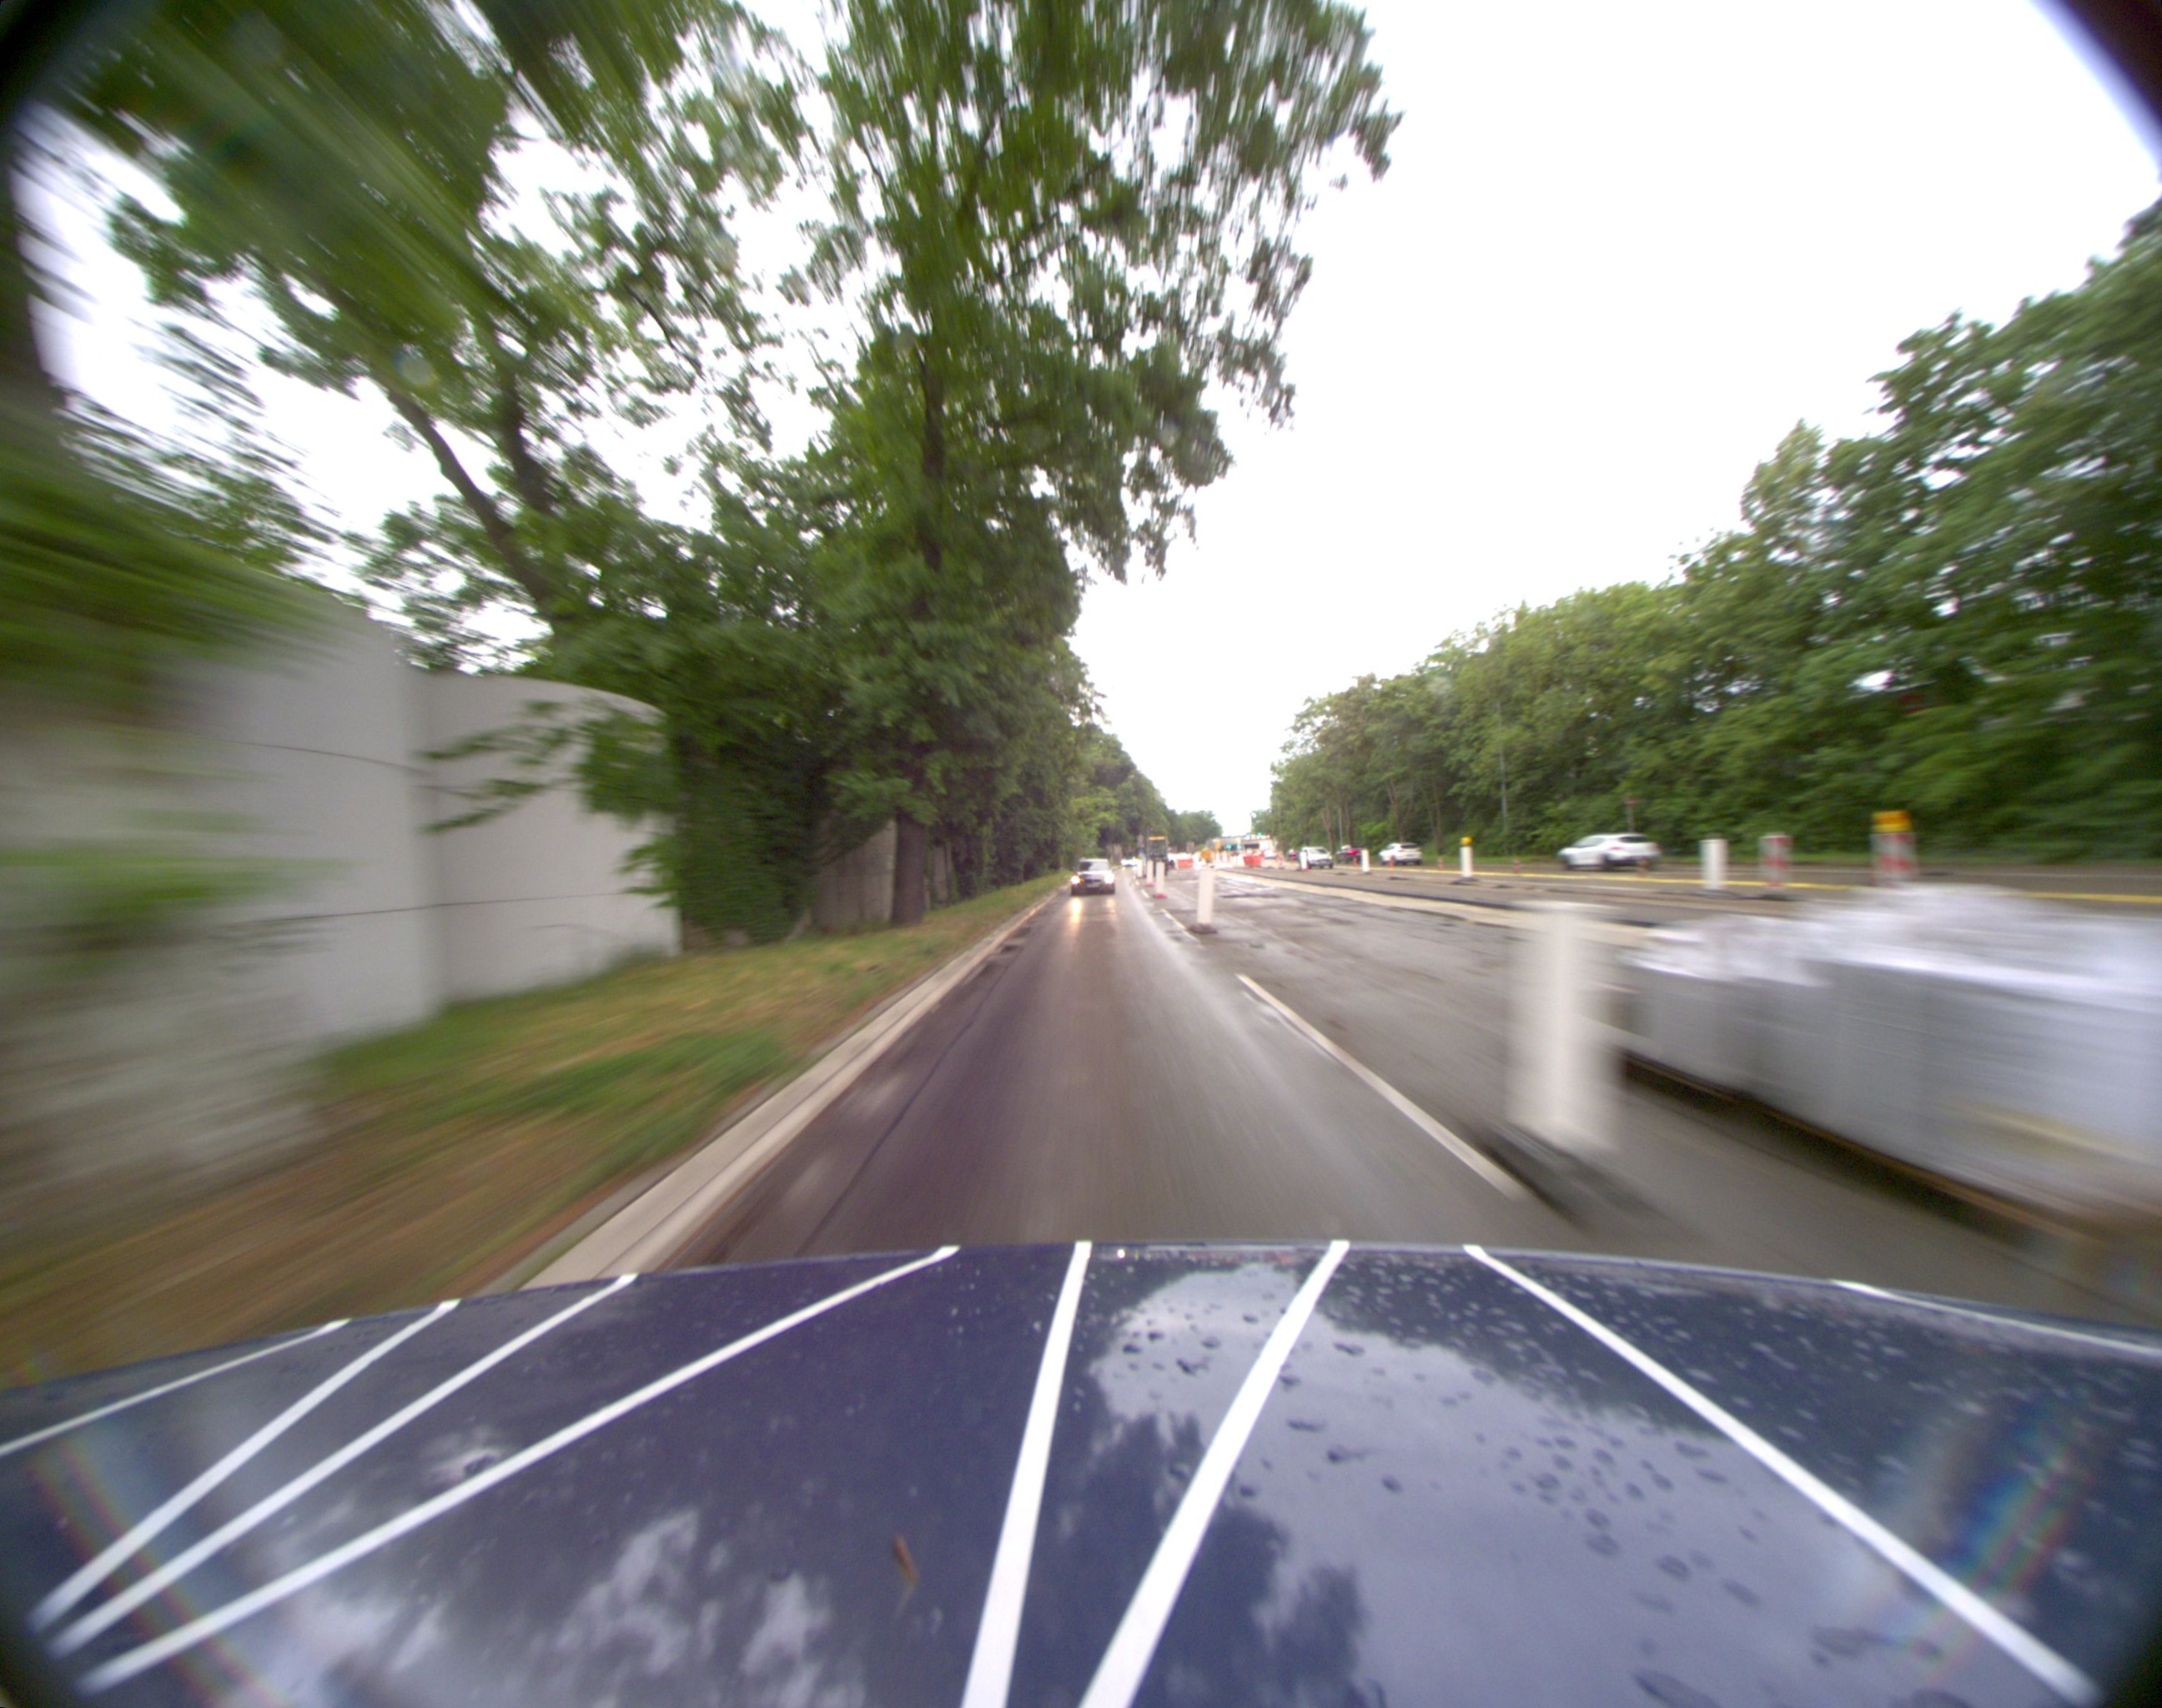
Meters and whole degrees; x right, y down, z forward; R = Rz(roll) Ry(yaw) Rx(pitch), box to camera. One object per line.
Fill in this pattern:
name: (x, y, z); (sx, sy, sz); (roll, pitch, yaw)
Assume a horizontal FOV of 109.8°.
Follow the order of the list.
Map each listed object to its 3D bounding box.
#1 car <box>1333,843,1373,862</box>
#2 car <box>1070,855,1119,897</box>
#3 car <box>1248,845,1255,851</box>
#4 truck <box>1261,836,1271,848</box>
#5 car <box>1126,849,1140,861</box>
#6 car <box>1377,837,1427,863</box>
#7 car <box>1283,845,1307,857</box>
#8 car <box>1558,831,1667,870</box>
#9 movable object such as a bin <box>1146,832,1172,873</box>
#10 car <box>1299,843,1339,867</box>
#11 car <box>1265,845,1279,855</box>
car: (24.488, -0.111, 68.548); (1.781, 1.654, 4.915); (-1, 0, 0)
car: (0.626, 0.851, 30.953); (1.701, 1.477, 4.001); (-2, 1, 4)
car: (48.765, -1.759, 217.443); (1.677, 1.604, 3.773); (-1, 0, 12)
truck: (60.275, -3.876, 247.463); (3.148, 3.809, 9.654); (-2, 1, 14)
car: (7.492, 0.132, 108.820); (1.706, 1.681, 4.474); (-2, 1, 7)
car: (23.307, -0.282, 55.351); (1.781, 1.741, 4.380); (-2, 0, 0)
car: (27.227, -0.360, 96.690); (1.788, 1.444, 4.682); (-2, 0, 2)
car: (22.022, -0.132, 31.693); (1.670, 1.532, 4.158); (0, 0, 1)
movable object such as a bin: (6.003, -0.154, 58.810); (1.807, 2.968, 5.247); (-2, 0, 5)
car: (17.298, 0.058, 55.386); (1.793, 1.574, 3.862); (-3, 0, 4)
car: (30.854, -0.677, 122.834); (1.787, 1.418, 4.472); (-2, 0, 9)
